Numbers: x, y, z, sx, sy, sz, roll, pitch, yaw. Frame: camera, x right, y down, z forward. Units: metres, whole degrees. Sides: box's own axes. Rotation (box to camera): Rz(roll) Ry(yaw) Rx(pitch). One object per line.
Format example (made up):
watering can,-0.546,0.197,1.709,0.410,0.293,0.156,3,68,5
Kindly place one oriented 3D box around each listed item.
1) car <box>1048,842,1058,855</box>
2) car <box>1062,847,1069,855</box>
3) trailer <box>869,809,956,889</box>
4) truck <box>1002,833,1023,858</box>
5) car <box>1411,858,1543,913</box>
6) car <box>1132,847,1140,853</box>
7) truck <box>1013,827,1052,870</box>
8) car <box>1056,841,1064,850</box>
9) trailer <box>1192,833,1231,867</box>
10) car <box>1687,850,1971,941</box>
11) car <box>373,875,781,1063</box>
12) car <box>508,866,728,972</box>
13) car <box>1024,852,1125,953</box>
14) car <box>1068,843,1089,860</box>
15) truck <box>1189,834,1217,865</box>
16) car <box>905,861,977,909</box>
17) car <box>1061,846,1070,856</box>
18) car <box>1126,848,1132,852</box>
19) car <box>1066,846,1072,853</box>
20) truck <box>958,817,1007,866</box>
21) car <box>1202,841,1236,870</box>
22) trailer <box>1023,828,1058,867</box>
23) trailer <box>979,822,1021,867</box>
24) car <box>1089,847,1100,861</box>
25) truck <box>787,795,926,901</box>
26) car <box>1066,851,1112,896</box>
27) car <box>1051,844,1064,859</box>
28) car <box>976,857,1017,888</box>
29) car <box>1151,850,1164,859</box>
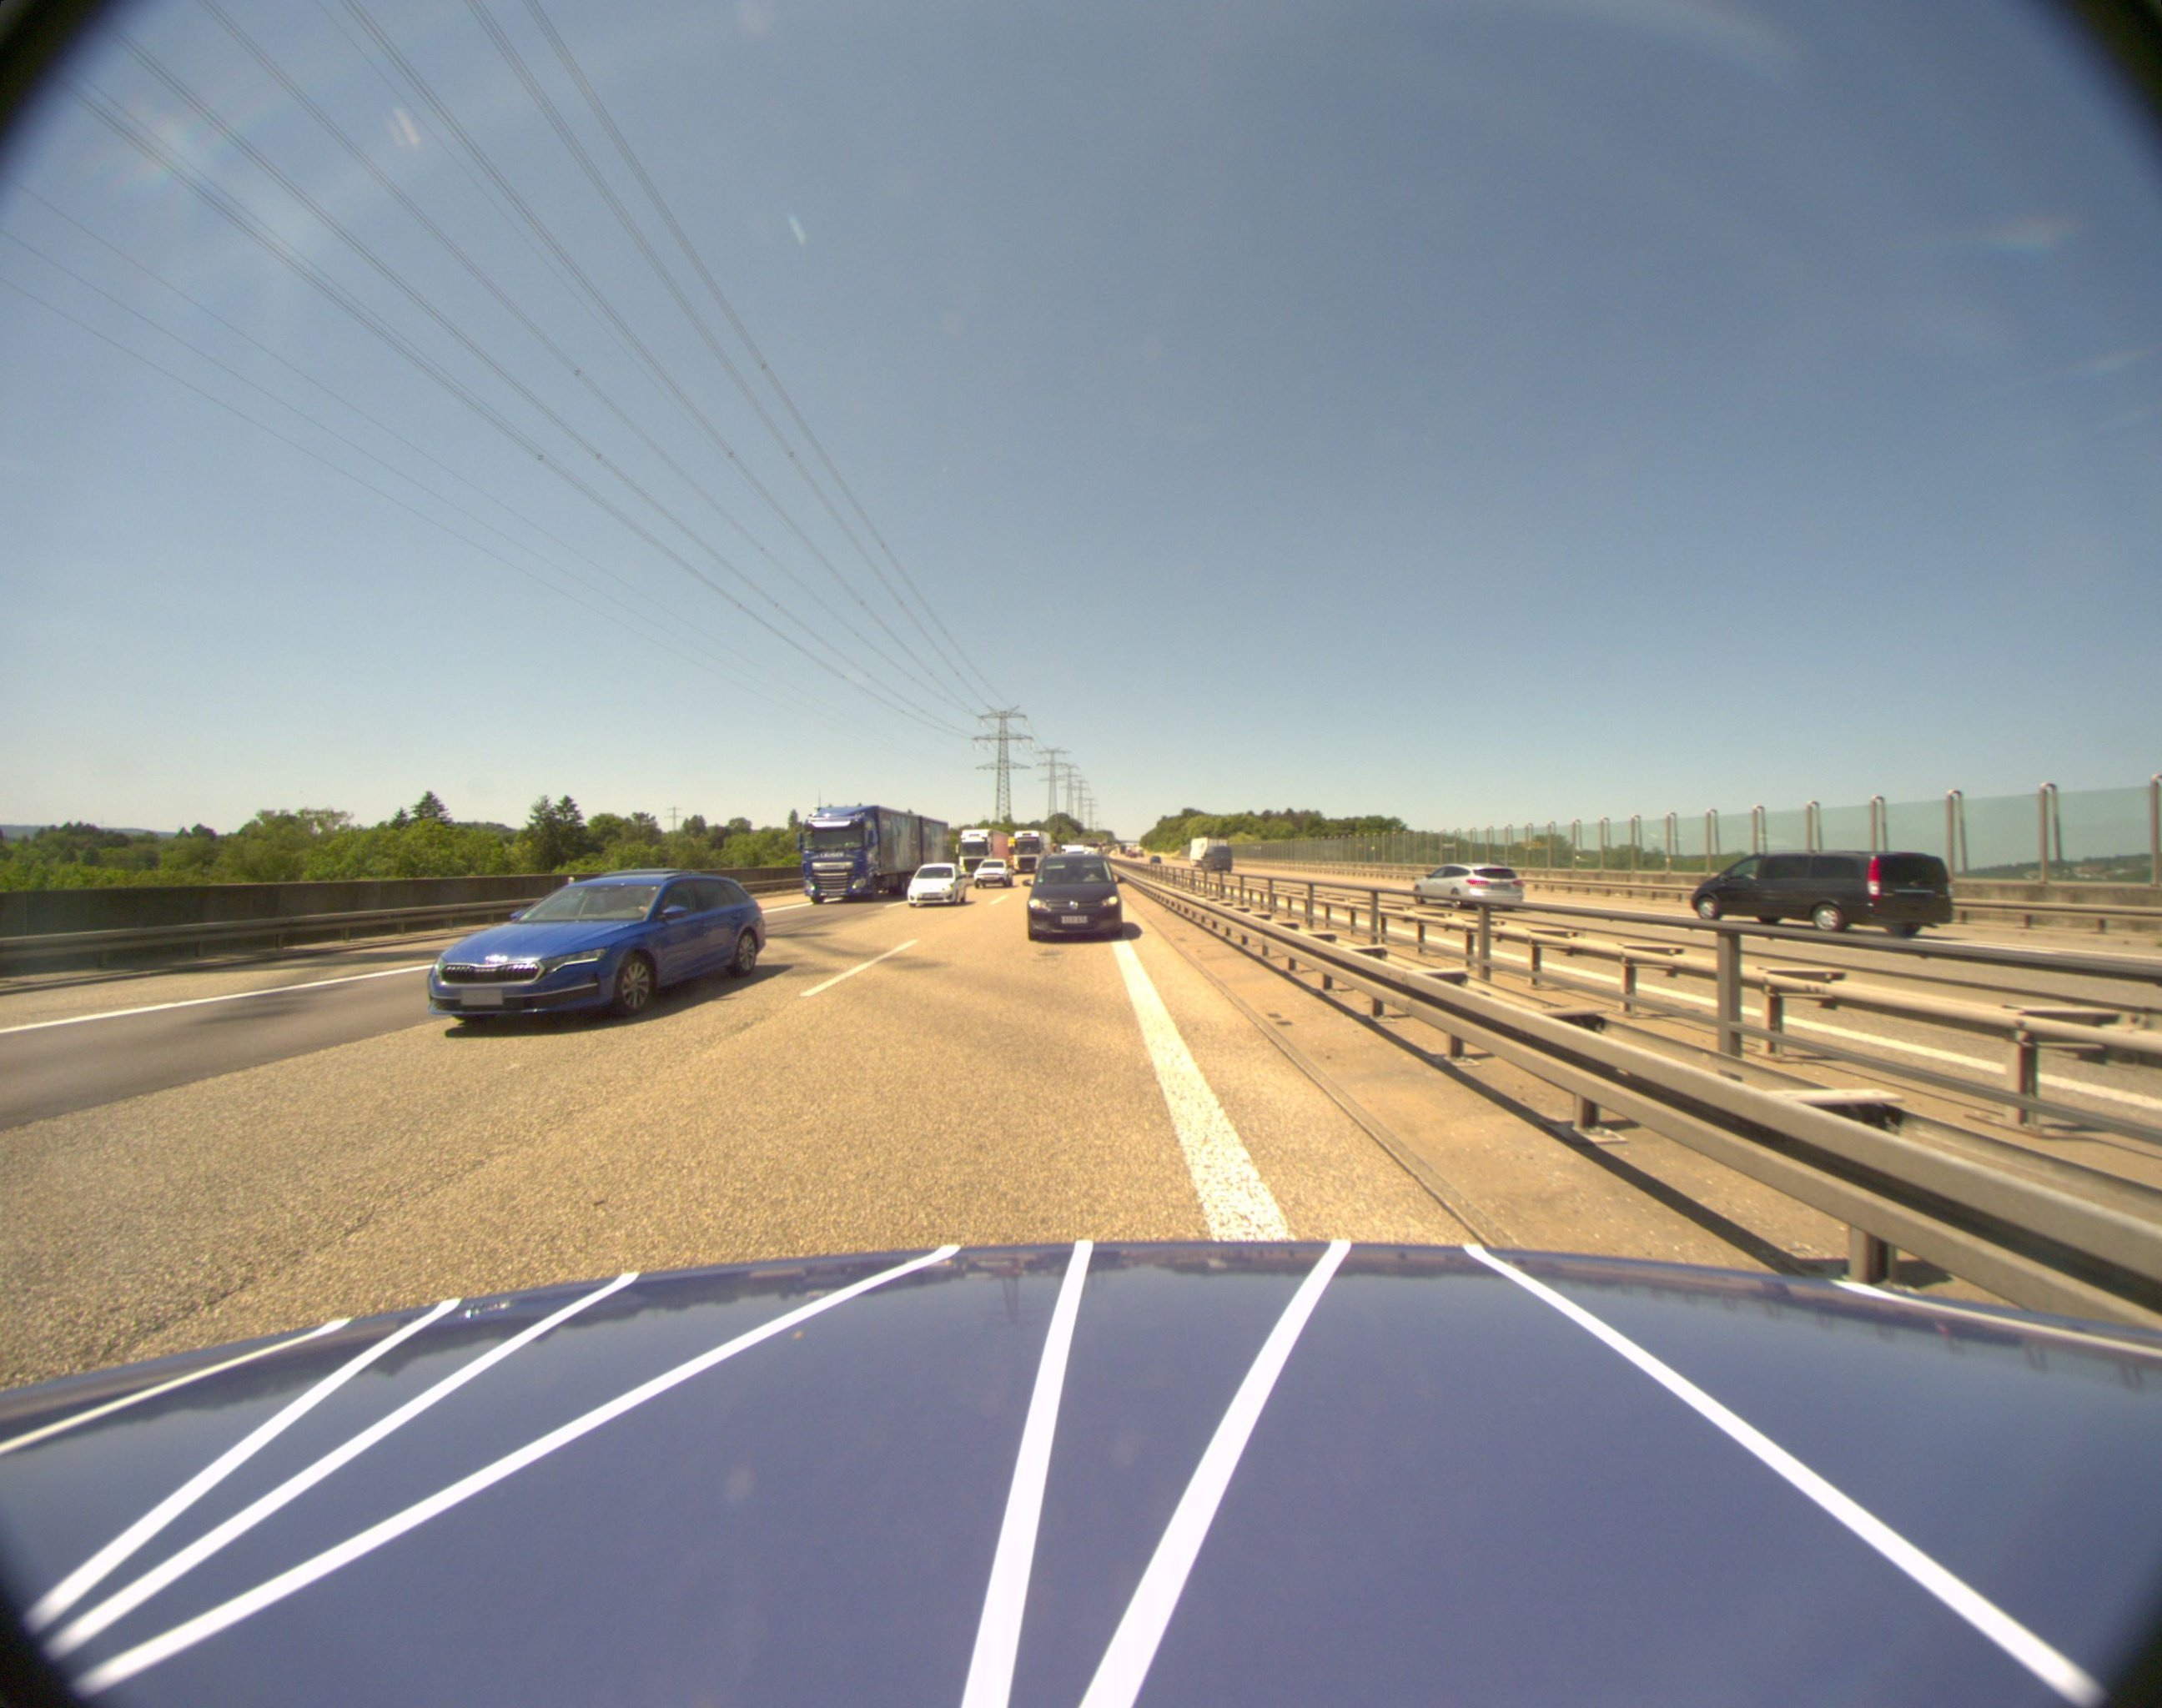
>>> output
car,-5.774,-1.189,156.560,1.704,2.525,3.999,2,1,1
car,-4.384,-0.862,214.055,1.704,2.116,3.999,2,1,1
trailer,-9.466,-0.315,43.798,2.835,4.065,8.637,-2,1,1
truck,-8.746,-1.107,97.918,2.251,2.965,6.242,2,1,-1
car,12.637,0.930,24.614,1.998,1.535,4.385,1,1,1
car,16.359,-1.108,226.435,1.844,1.812,4.746,0,1,-1
truck,-4.504,-0.559,72.347,2.849,3.804,8.264,-2,1,2
car,-5.178,-2.176,184.099,1.704,2.116,3.999,2,1,1
trailer,17.463,-0.624,102.761,2.913,4.282,13.659,1,1,0
car,17.818,0.868,18.571,1.962,1.894,4.949,1,1,-1
car,-5.405,1.097,9.069,1.712,1.443,4.563,-2,1,1
car,-8.878,1.152,15.065,1.712,1.645,4.117,-2,1,1
car,-0.108,0.842,15.213,1.713,1.669,3.931,-2,1,0
car,-0.218,-0.267,75.684,1.924,1.501,3.996,-2,1,1
truck,17.602,-0.729,109.637,2.936,4.269,6.857,2,1,1
car,-4.929,1.058,27.246,1.712,1.443,4.144,-2,1,1
car,-3.475,-0.683,171.651,1.704,2.116,3.999,2,1,1
car,16.647,-1.319,264.428,1.876,1.434,4.384,1,0,0
car,-4.026,-1.428,251.325,1.704,2.116,3.999,2,1,1
truck,-8.471,-1.080,66.673,2.608,3.964,8.265,-2,1,3
car,13.190,0.112,73.051,1.999,2.567,6.649,1,1,-1
trailer,-4.227,-0.685,81.041,2.822,3.830,9.085,-2,1,2
trailer,-7.912,-0.931,75.332,2.608,4.094,9.086,-2,1,3
car,2.142,-0.054,121.791,1.704,2.116,3.999,-2,1,1
truck,-9.615,-0.288,34.217,2.859,3.927,10.393,-2,1,1
car,0.327,0.741,31.531,1.713,1.669,3.931,-2,1,0
car,-3.427,-0.345,110.922,1.704,2.116,3.999,2,1,1
car,-4.617,1.003,42.058,1.712,1.501,4.144,-2,1,1
car,13.596,0.112,135.066,1.777,1.483,4.605,0,0,1
